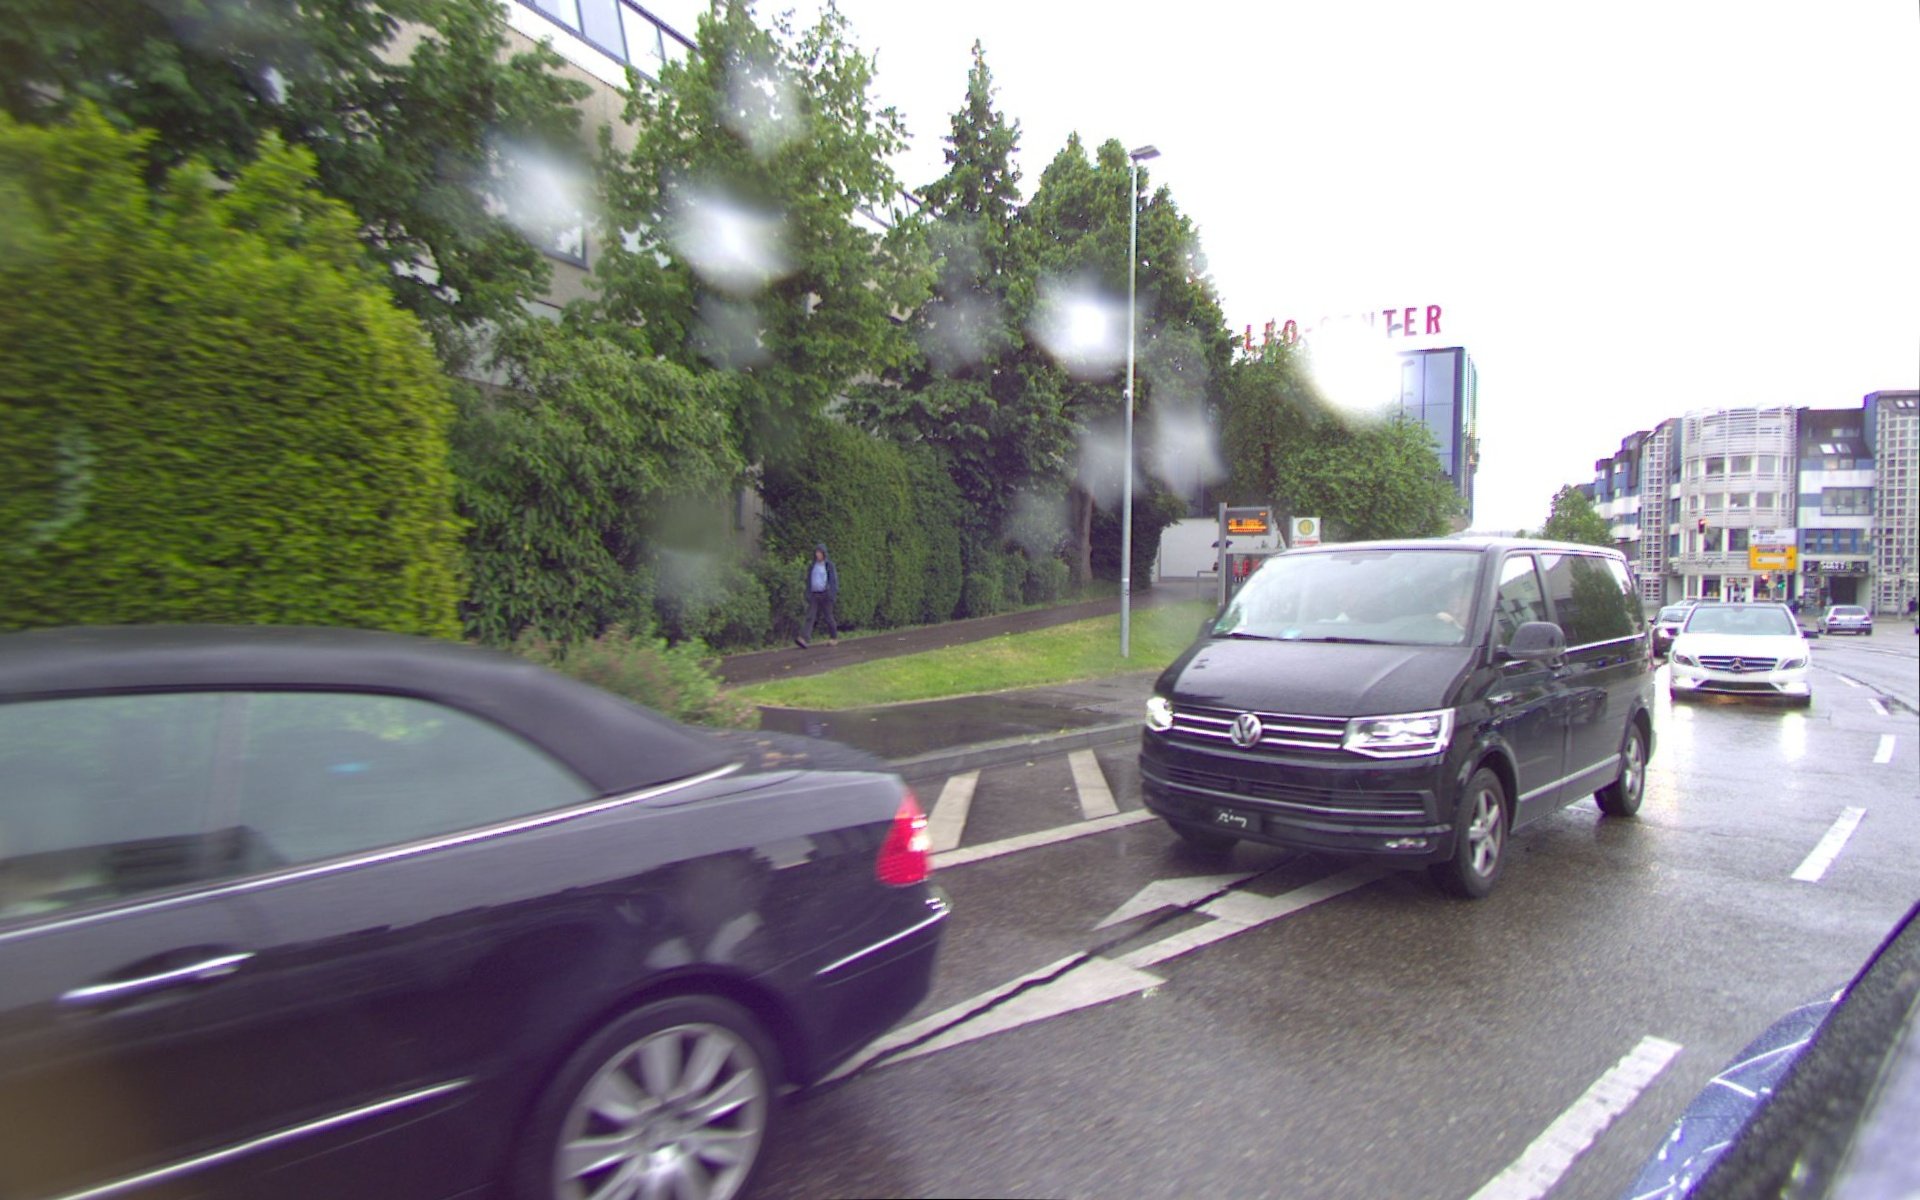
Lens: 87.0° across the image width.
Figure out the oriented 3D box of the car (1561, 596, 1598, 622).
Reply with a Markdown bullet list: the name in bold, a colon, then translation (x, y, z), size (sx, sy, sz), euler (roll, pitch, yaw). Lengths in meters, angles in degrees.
- **car**: translation (41.062, 0.586, 67.179), size (1.721, 1.616, 3.963), euler (1, 0, 26)

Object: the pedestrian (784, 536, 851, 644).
- **pedestrian**: translation (-2.476, -0.174, 17.624), size (0.843, 1.818, 0.788), euler (0, 1, 31)

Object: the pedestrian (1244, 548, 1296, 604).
- **pedestrian**: translation (7.463, -0.578, 24.361), size (1.025, 1.297, 0.684), euler (3, 1, 31)

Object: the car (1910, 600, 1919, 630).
- **car**: translation (47.325, 0.739, 48.532), size (1.750, 1.445, 4.830), euler (0, 1, 33)

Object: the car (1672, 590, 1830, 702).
- **car**: translation (13.026, 0.643, 16.558), size (1.756, 1.568, 4.261), euler (1, 1, 42)

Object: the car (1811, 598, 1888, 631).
- **car**: translation (43.742, 0.690, 49.860), size (1.687, 1.484, 4.069), euler (2, 1, 25)

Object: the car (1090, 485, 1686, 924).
- **car**: translation (3.074, 0.426, 6.706), size (4.510, 1.918, 1.998), euler (-1, 1, -43)

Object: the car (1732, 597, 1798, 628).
- **car**: translation (40.667, 0.615, 51.234), size (1.745, 1.470, 3.964), euler (1, 0, 25)

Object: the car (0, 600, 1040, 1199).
- **car**: translation (-1.975, 0.708, 2.072), size (4.435, 1.403, 1.634), euler (0, 0, -41)

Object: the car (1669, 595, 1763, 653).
- **car**: translation (21.477, 0.630, 28.872), size (1.619, 1.509, 3.800), euler (1, 0, 29)

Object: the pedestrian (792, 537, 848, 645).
- **pedestrian**: translation (-2.432, -0.168, 17.578), size (0.668, 1.819, 0.667), euler (0, 3, 29)
